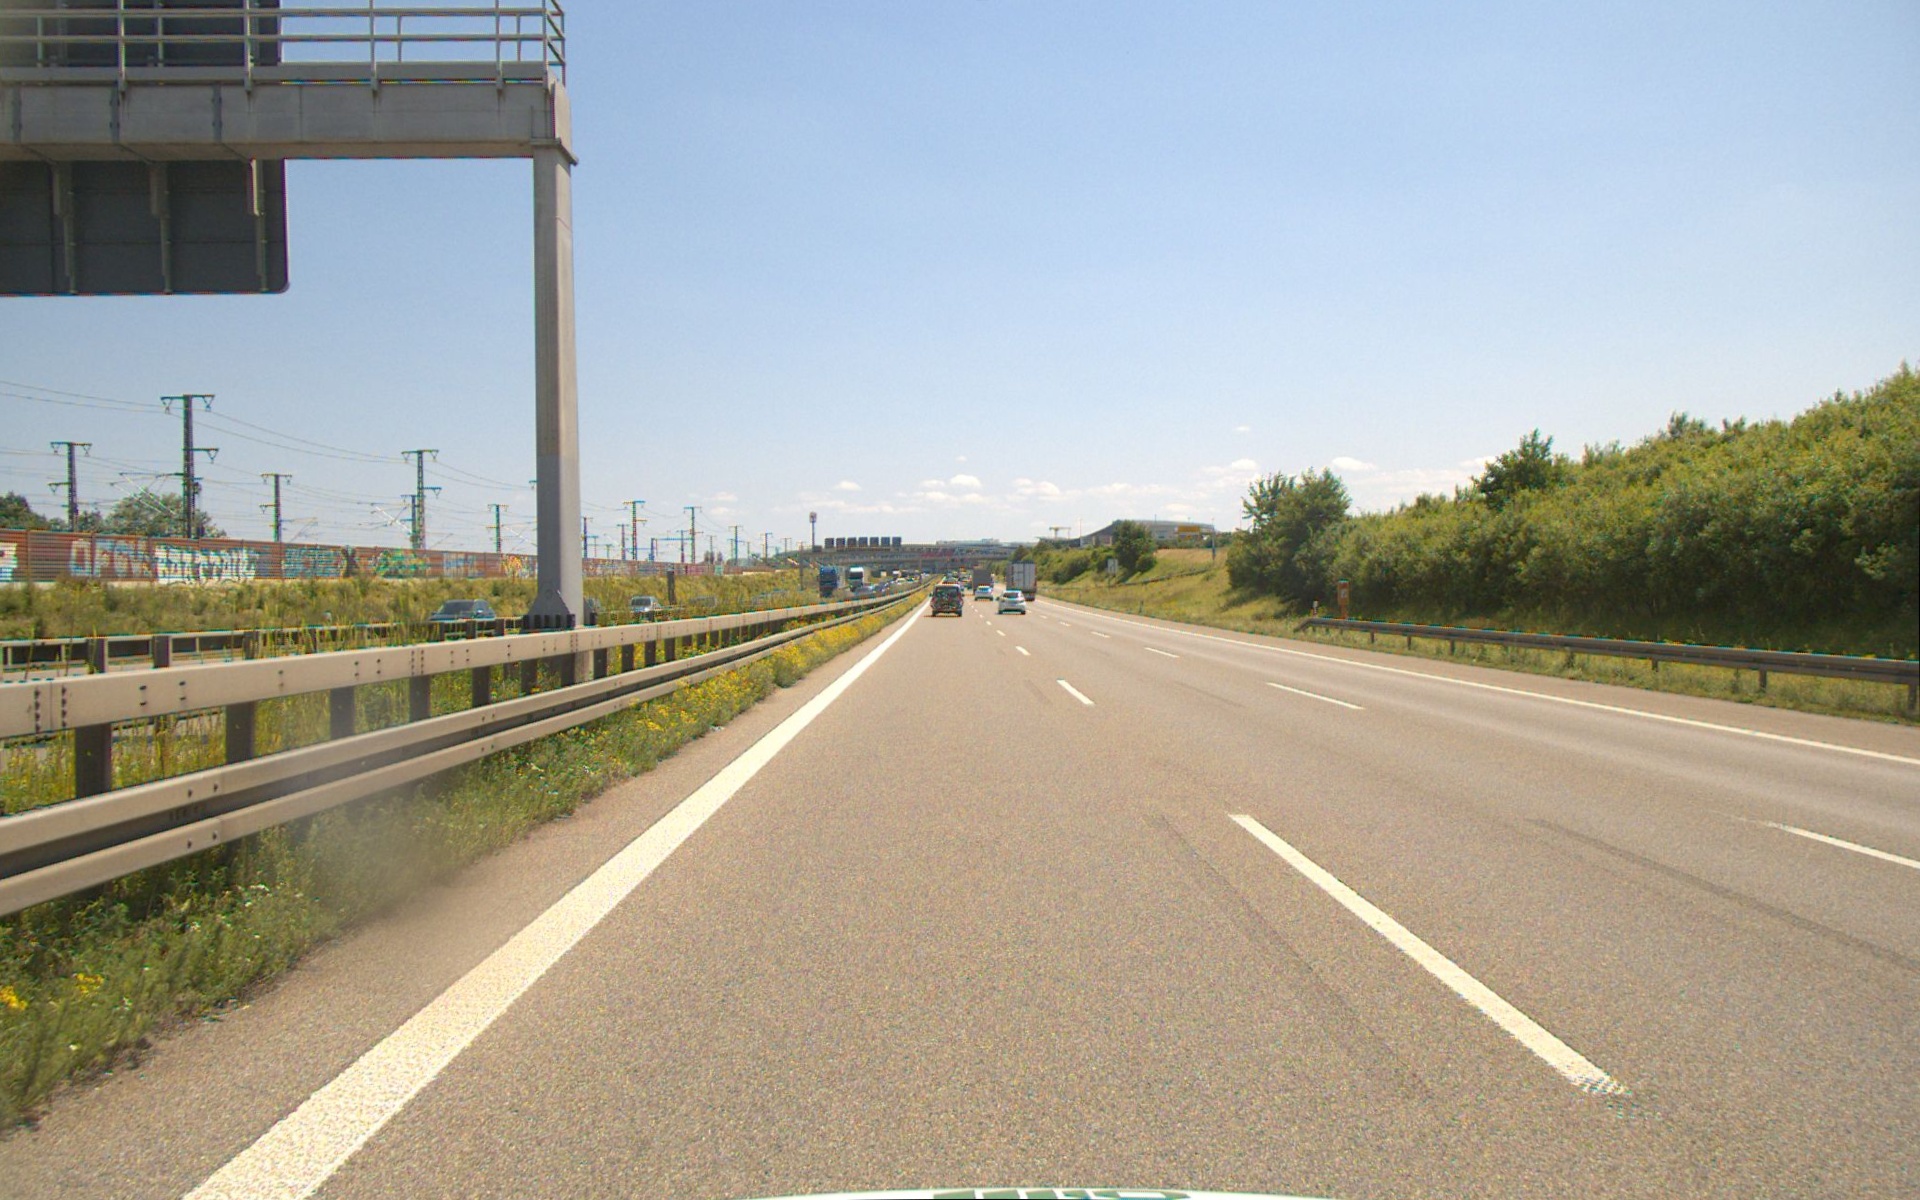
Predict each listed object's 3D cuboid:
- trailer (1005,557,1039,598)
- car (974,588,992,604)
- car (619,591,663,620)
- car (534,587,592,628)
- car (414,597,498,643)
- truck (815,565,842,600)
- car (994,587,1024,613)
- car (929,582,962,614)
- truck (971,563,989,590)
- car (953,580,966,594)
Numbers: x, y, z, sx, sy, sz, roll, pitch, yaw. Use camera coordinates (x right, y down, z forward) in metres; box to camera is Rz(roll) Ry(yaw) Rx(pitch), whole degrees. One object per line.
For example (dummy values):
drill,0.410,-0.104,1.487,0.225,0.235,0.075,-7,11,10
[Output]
trailer,6.520,-2.395,174.025,3.112,4.130,9.439,-1,1,0
car,2.419,-0.426,171.231,1.842,1.553,4.000,0,0,1
car,-20.167,0.317,104.663,1.953,1.756,4.513,0,0,0
car,-20.644,0.389,86.088,1.953,2.049,4.309,1,-1,0
car,-20.280,0.759,66.737,1.952,1.756,4.513,0,0,0
truck,-17.408,-2.345,219.103,2.829,4.484,7.503,-1,1,0
car,3.147,-0.007,104.803,1.841,1.553,4.001,0,0,2
car,-0.822,-0.109,95.301,1.842,1.806,4.000,-1,0,0
truck,2.591,-3.055,214.787,2.307,3.475,6.057,0,1,0
car,-0.106,-1.991,248.779,1.953,2.049,3.999,0,0,-1
